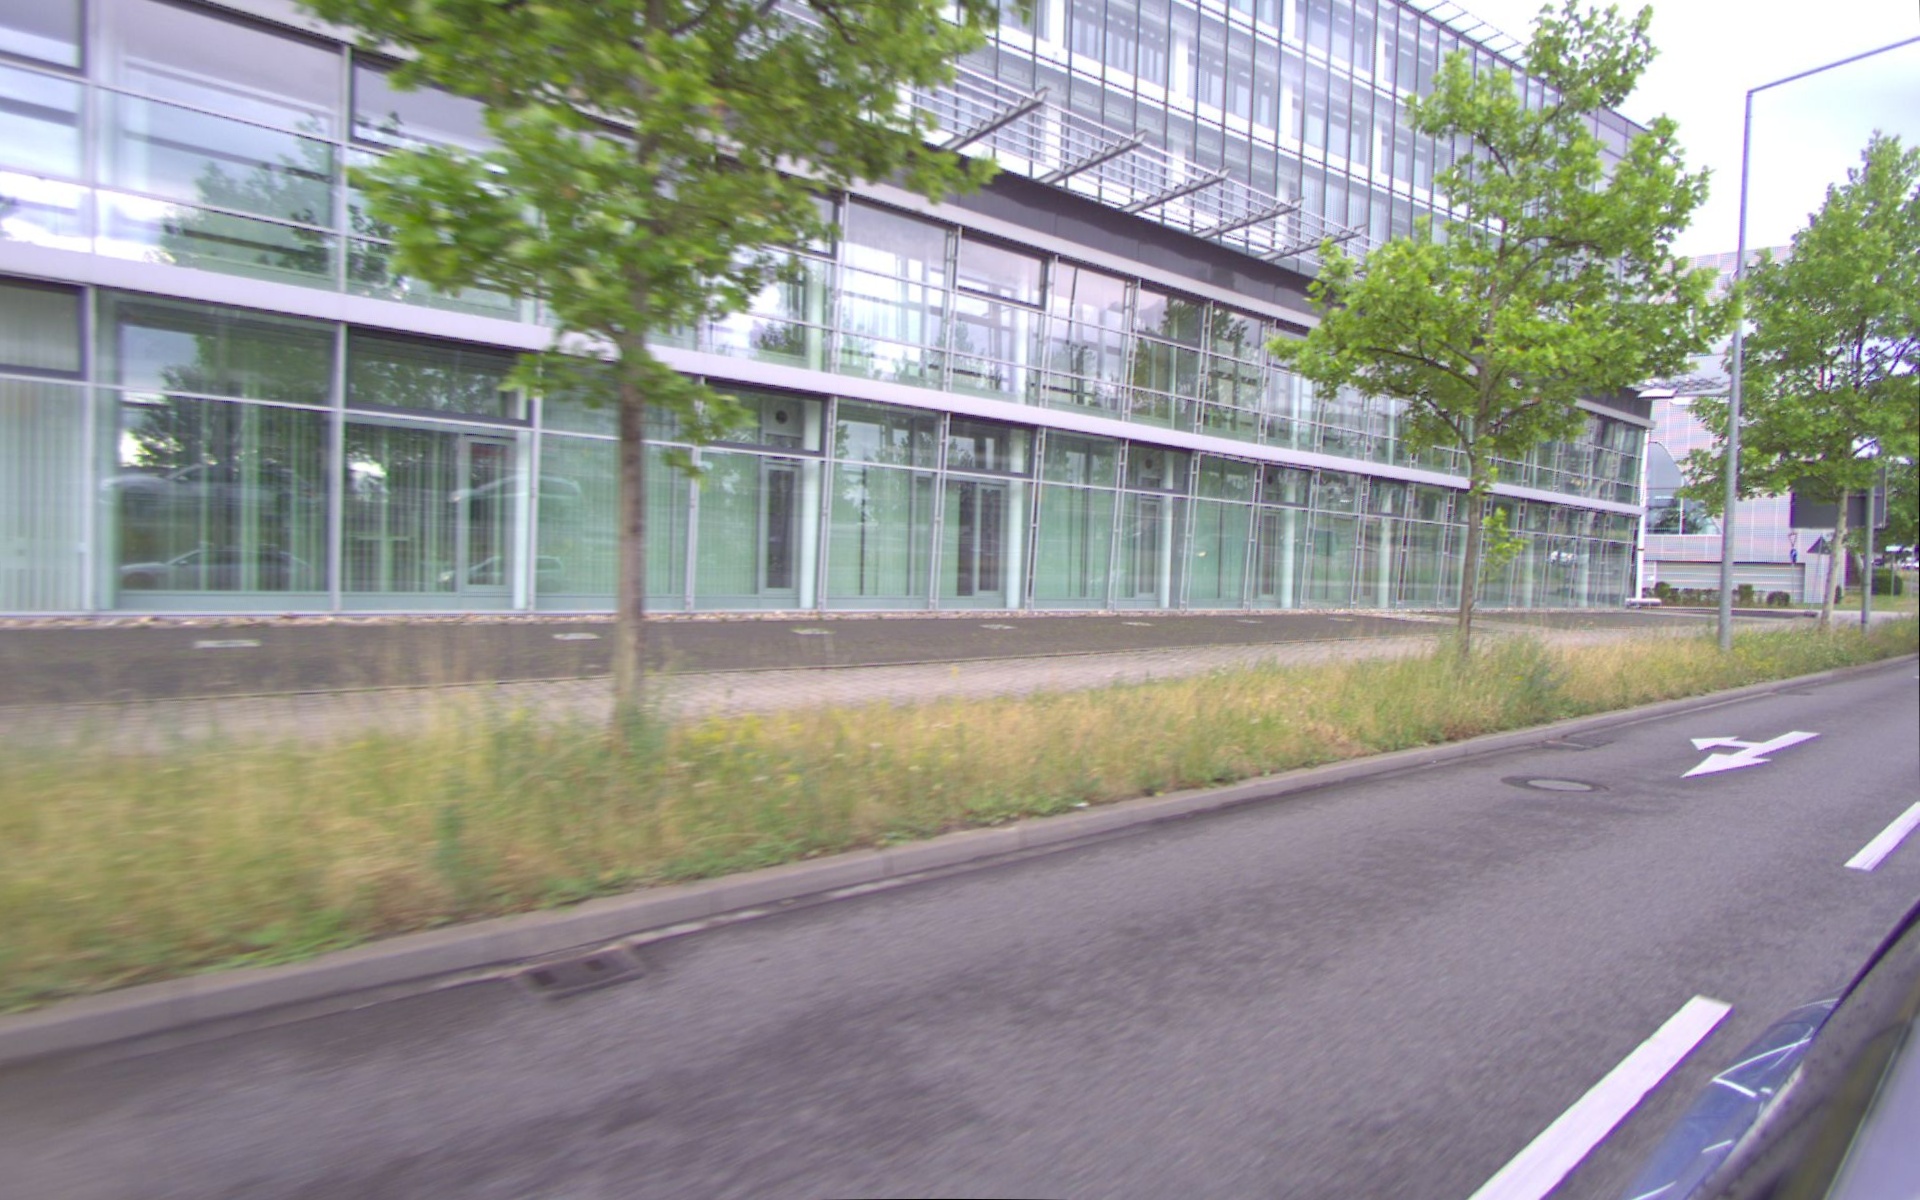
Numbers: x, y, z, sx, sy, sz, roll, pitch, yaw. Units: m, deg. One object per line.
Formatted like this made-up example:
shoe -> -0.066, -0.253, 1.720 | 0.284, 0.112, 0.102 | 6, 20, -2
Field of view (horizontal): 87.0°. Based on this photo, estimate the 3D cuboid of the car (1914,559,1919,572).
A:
car -> 131.907, -4.675, 138.592 | 1.824, 1.732, 4.088 | 0, 1, 44
